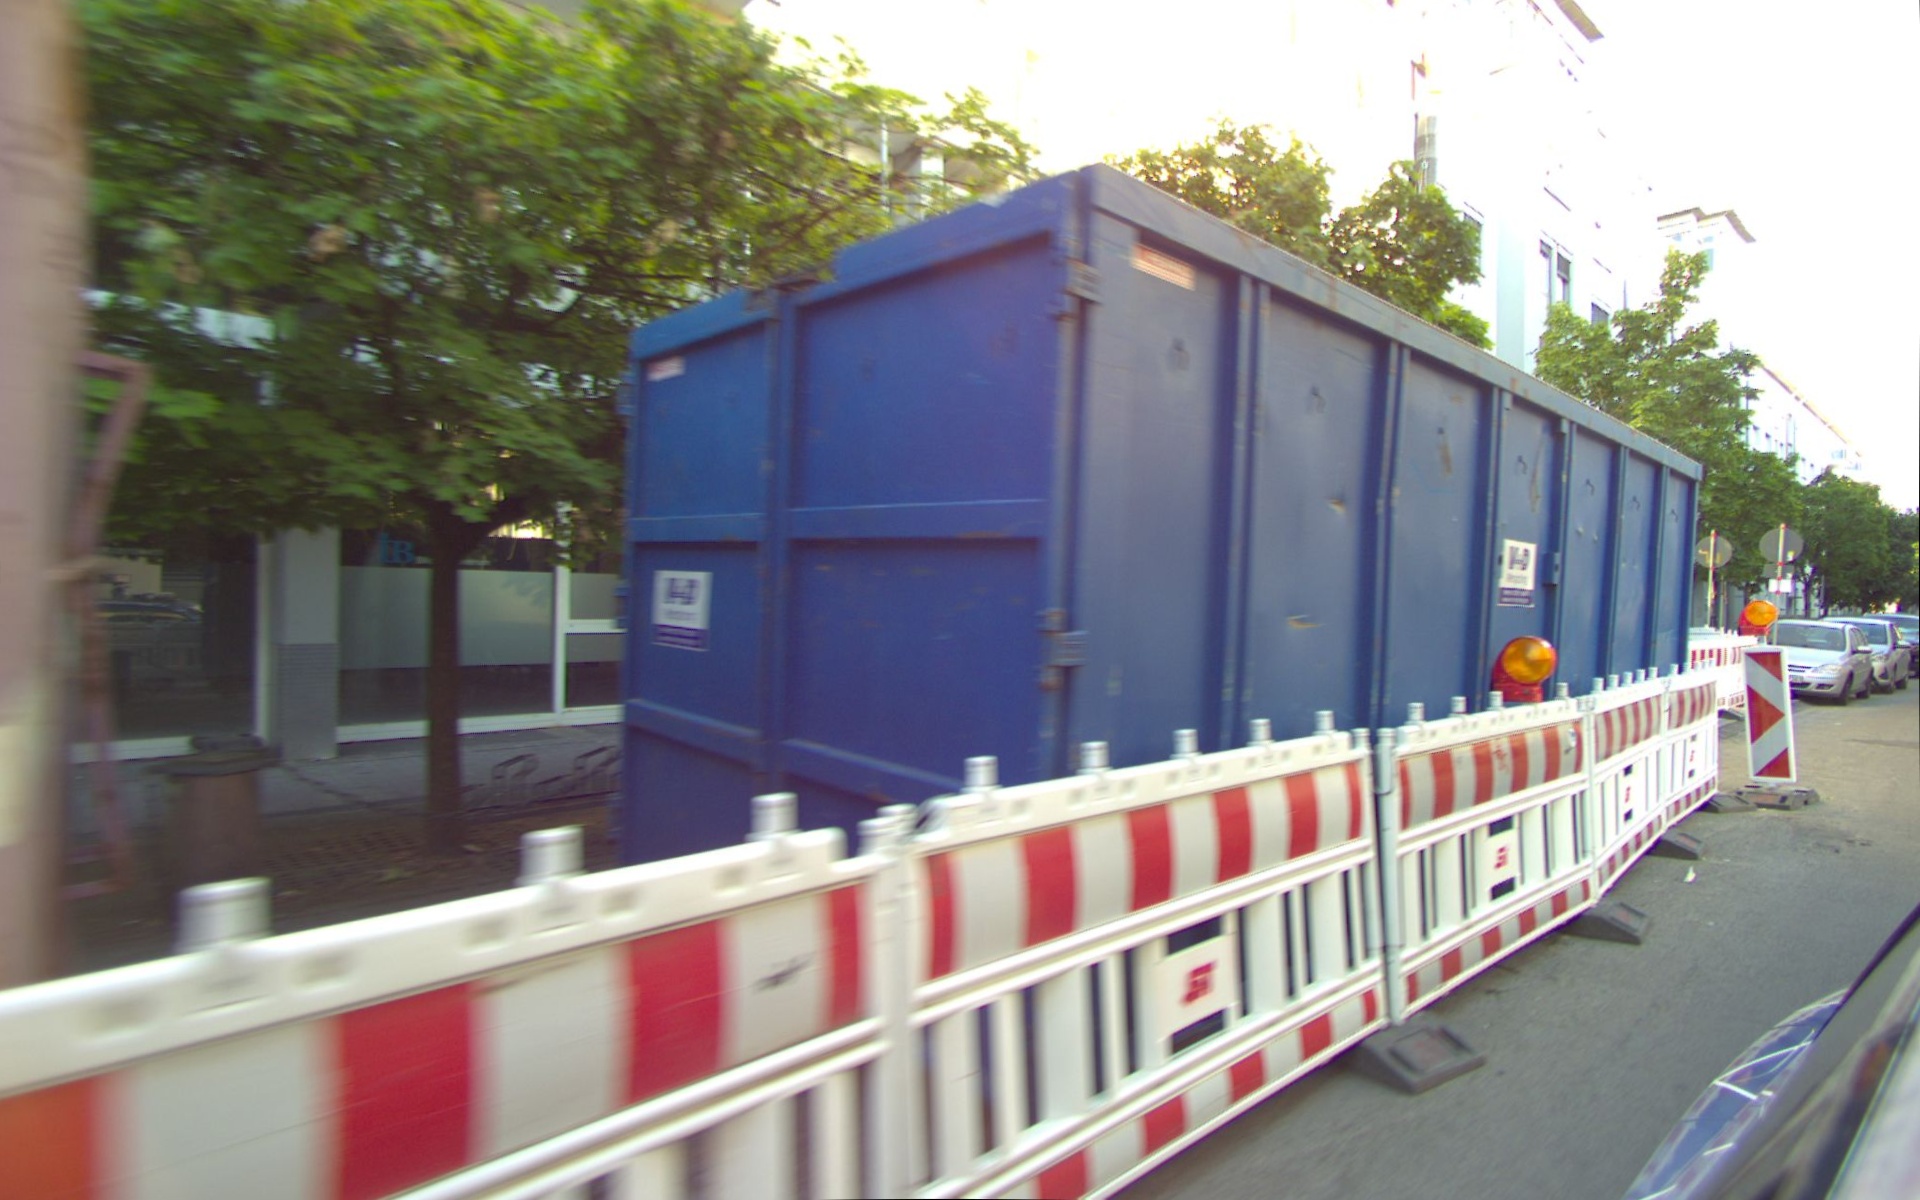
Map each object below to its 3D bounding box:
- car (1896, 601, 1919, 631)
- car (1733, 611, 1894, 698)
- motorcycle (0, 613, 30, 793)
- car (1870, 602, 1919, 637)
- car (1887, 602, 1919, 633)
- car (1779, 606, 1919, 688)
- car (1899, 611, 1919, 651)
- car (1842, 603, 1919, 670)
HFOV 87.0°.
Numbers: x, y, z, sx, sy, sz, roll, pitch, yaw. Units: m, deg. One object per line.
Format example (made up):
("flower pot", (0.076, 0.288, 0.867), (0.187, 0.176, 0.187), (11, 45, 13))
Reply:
("car", (66.460, 1.129, 70.219), (3.933, 2.039, 1.995), (1, -1, -44))
("car", (16.024, 0.944, 18.940), (3.994, 1.466, 1.637), (1, -1, -40))
("motorcycle", (-7.760, 0.728, 6.550), (2.406, 1.238, 0.874), (0, 0, -24))
("car", (56.310, 1.144, 60.936), (3.933, 2.039, 1.995), (1, -1, -44))
("car", (63.174, 1.168, 67.271), (3.933, 2.039, 1.995), (1, -1, -44))
("car", (19.457, 0.946, 21.961), (3.929, 1.605, 1.911), (1, -1, -40))
("car", (37.541, 1.157, 38.900), (3.933, 1.508, 1.852), (1, -1, -44))
("car", (25.943, 0.967, 27.912), (4.313, 1.711, 1.861), (1, -1, -41))
